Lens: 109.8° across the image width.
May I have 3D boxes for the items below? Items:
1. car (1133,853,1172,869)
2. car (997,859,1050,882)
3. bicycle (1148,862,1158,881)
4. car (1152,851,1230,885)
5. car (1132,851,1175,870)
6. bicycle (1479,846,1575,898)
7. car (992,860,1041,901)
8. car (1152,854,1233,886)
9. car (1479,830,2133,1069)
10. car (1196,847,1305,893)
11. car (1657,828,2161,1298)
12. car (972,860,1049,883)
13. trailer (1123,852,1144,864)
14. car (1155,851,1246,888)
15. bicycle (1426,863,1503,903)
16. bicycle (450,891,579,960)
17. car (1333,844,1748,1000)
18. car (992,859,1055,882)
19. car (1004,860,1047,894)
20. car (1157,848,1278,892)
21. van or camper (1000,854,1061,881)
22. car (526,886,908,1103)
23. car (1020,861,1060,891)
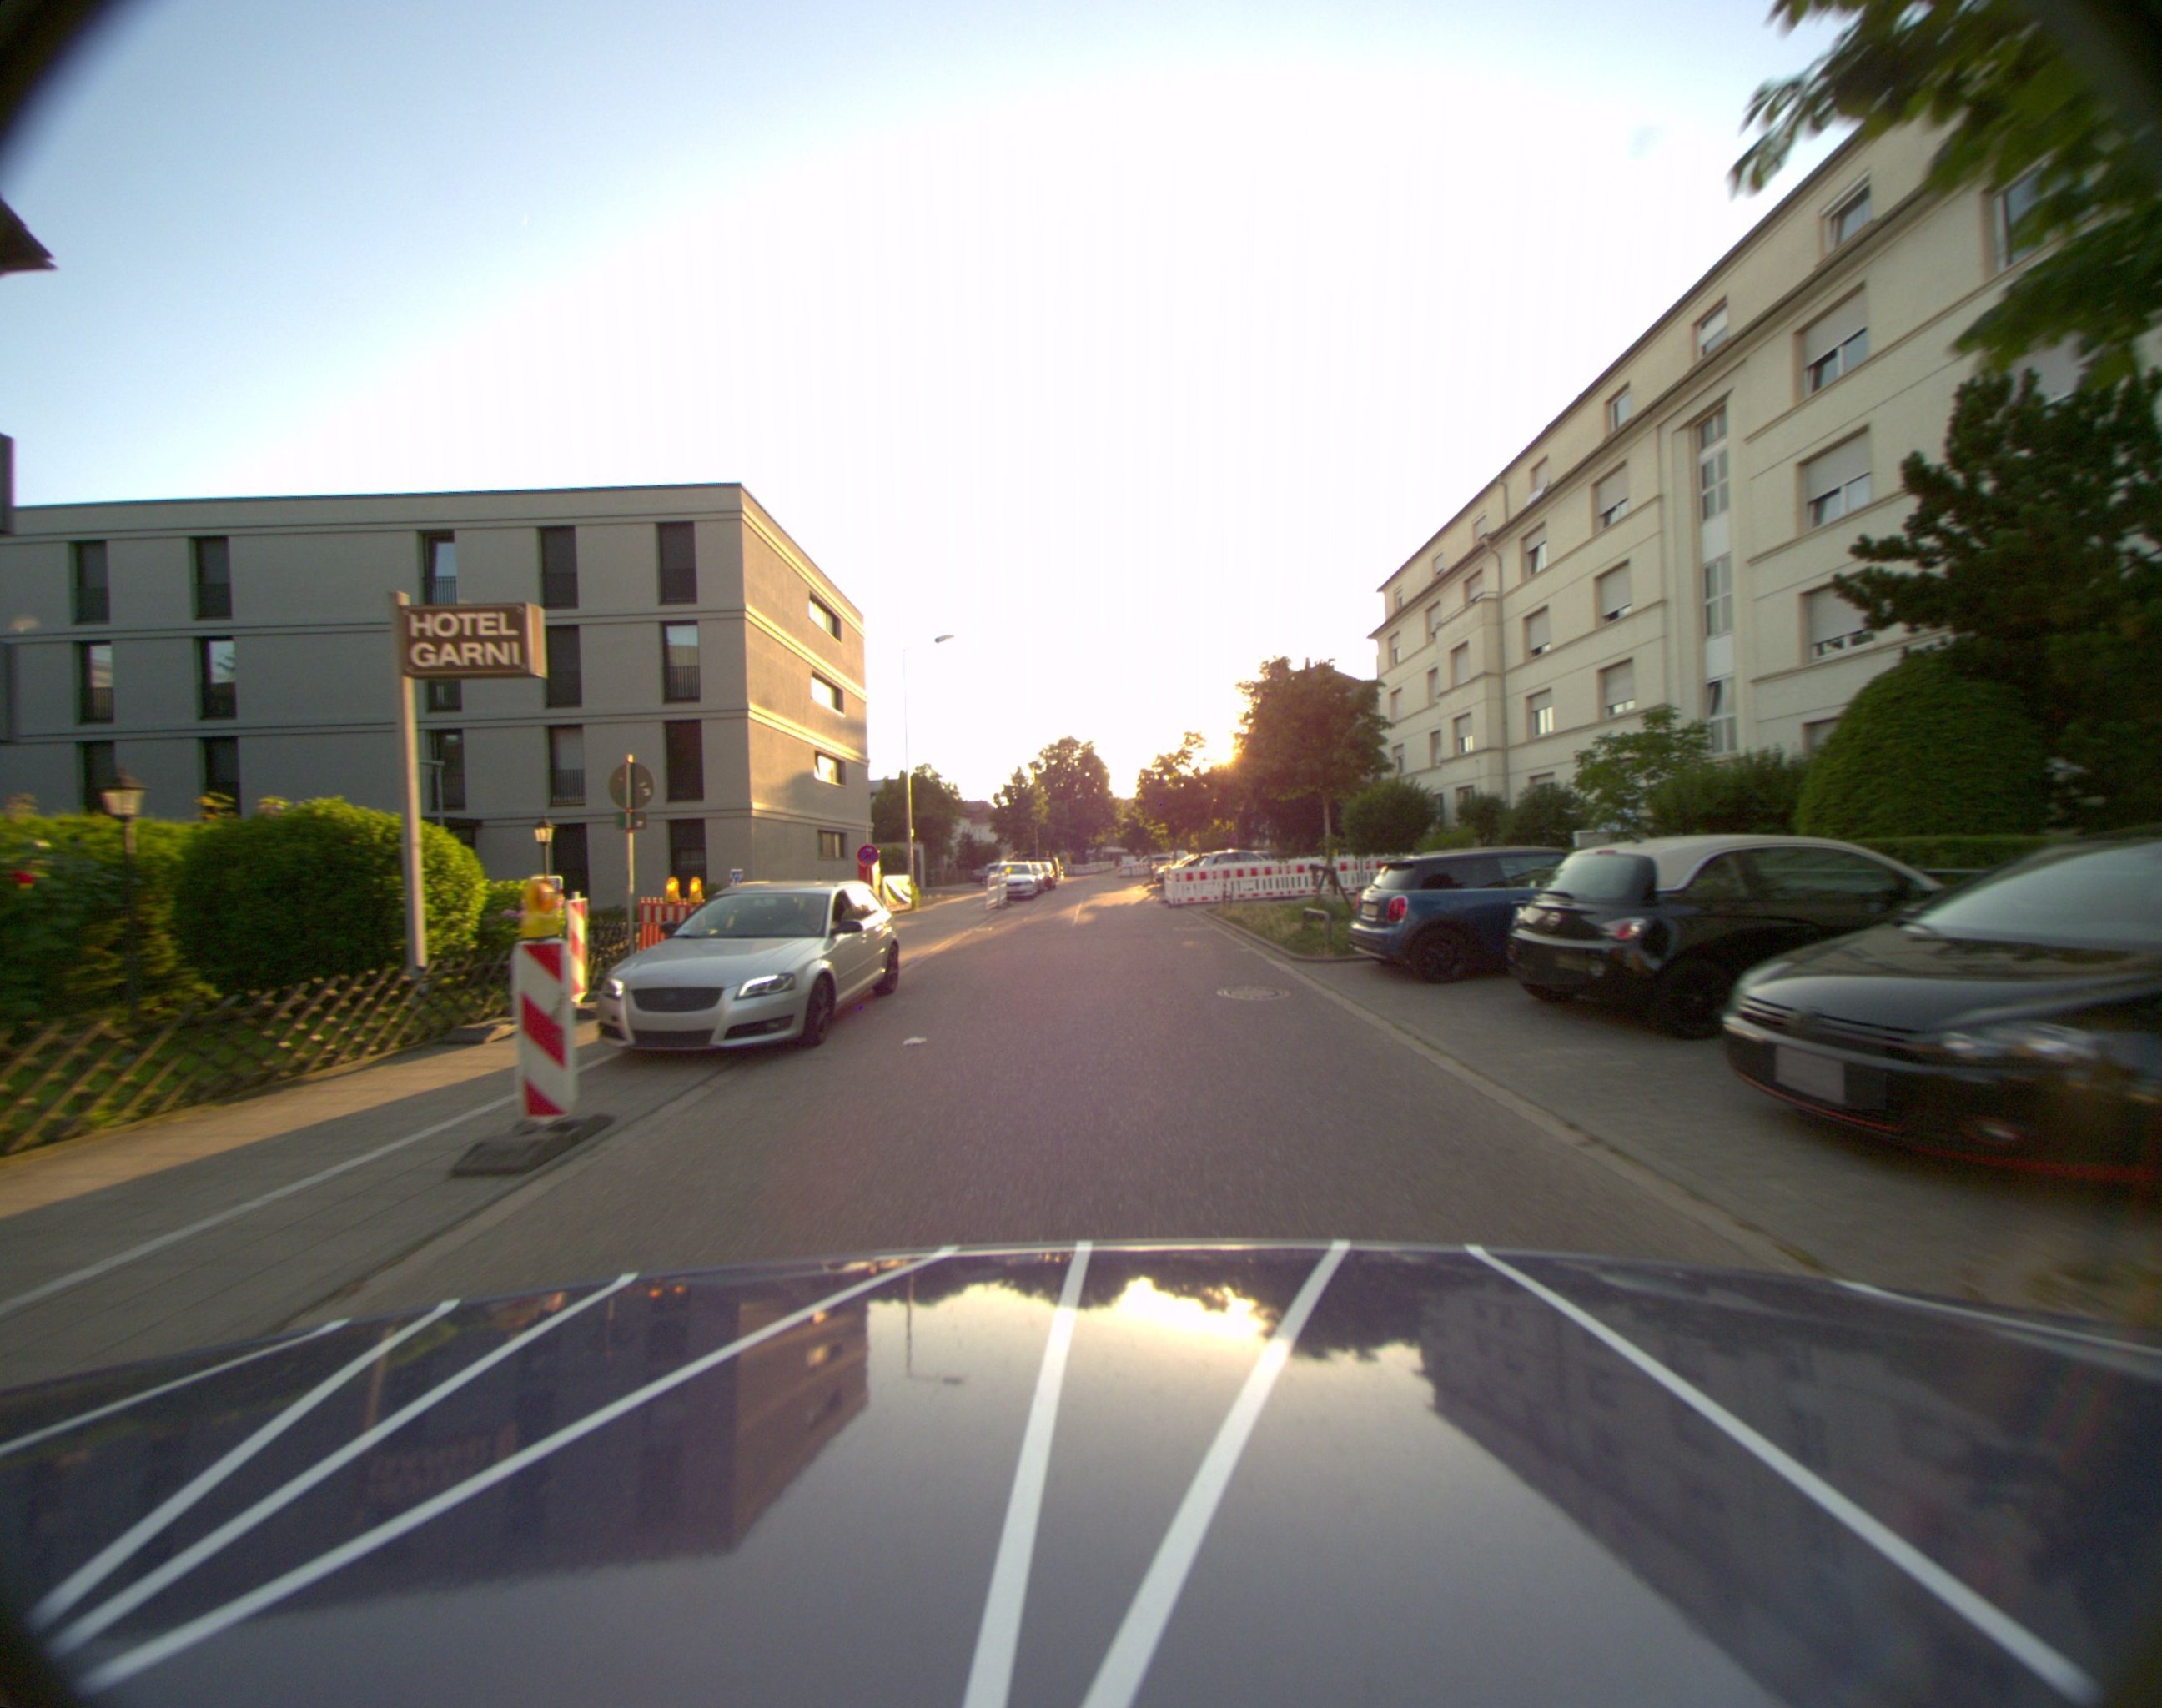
[{"bbox_3d":[7.958,0.761,84.423,4.129,1.673,2.001,-2,0,6],"label":"car"},{"bbox_3d":[-4.292,1.213,57.046,3.842,1.535,1.629,-2,0,0],"label":"car"},{"bbox_3d":[4.339,1.025,46.089,0.448,1.089,1.629,-2,0,1],"label":"bicycle"},{"bbox_3d":[5.931,0.759,41.360,3.996,1.533,1.728,-4,0,3],"label":"car"},{"bbox_3d":[8.281,0.735,86.981,4.785,2.057,2.001,-2,0,6],"label":"car"},{"bbox_3d":[11.162,0.449,19.049,2.033,1.179,0.540,-3,1,2],"label":"bicycle"},{"bbox_3d":[-2.521,1.011,30.358,1.618,1.461,3.996,-2,0,-1],"label":"car"},{"bbox_3d":[5.669,0.798,38.933,3.851,1.376,1.607,-4,0,2],"label":"car"},{"bbox_3d":[5.589,0.672,6.230,3.687,1.475,1.728,-3,0,-1],"label":"car"},{"bbox_3d":[6.419,0.581,29.080,3.709,1.475,1.728,-4,0,-1],"label":"car"},{"bbox_3d":[5.231,0.652,3.338,3.987,1.480,1.728,-3,1,3],"label":"car"},{"bbox_3d":[-4.552,1.158,49.605,4.830,1.390,1.770,-1,0,2],"label":"car"},{"bbox_3d":[10.309,0.820,149.653,3.682,2.056,2.002,-3,0,15],"label":"trailer"},{"bbox_3d":[5.613,0.723,36.100,4.041,1.475,1.728,-4,0,3],"label":"car"},{"bbox_3d":[10.725,0.805,21.268,1.925,0.986,0.360,-3,1,2],"label":"bicycle"},{"bbox_3d":[-9.312,1.172,12.502,1.897,1.063,0.446,-2,1,8],"label":"bicycle"},{"bbox_3d":[5.067,0.706,8.785,3.686,1.437,1.728,-3,1,2],"label":"car"},{"bbox_3d":[-3.945,1.153,52.592,4.064,1.492,1.771,-1,0,4],"label":"car"},{"bbox_3d":[-2.581,1.055,36.023,1.802,1.461,3.843,-2,0,-2],"label":"car"},{"bbox_3d":[5.594,0.658,31.308,4.521,1.475,1.727,-4,0,-7],"label":"car"},{"bbox_3d":[-3.926,1.041,59.575,4.660,1.942,2.094,-2,0,-2],"label":"van or camper"},{"bbox_3d":[-3.163,1.124,7.677,1.780,1.388,4.107,-2,0,1],"label":"car"},{"bbox_3d":[-2.168,1.145,40.994,1.745,1.461,3.759,-2,0,2],"label":"car"}]
